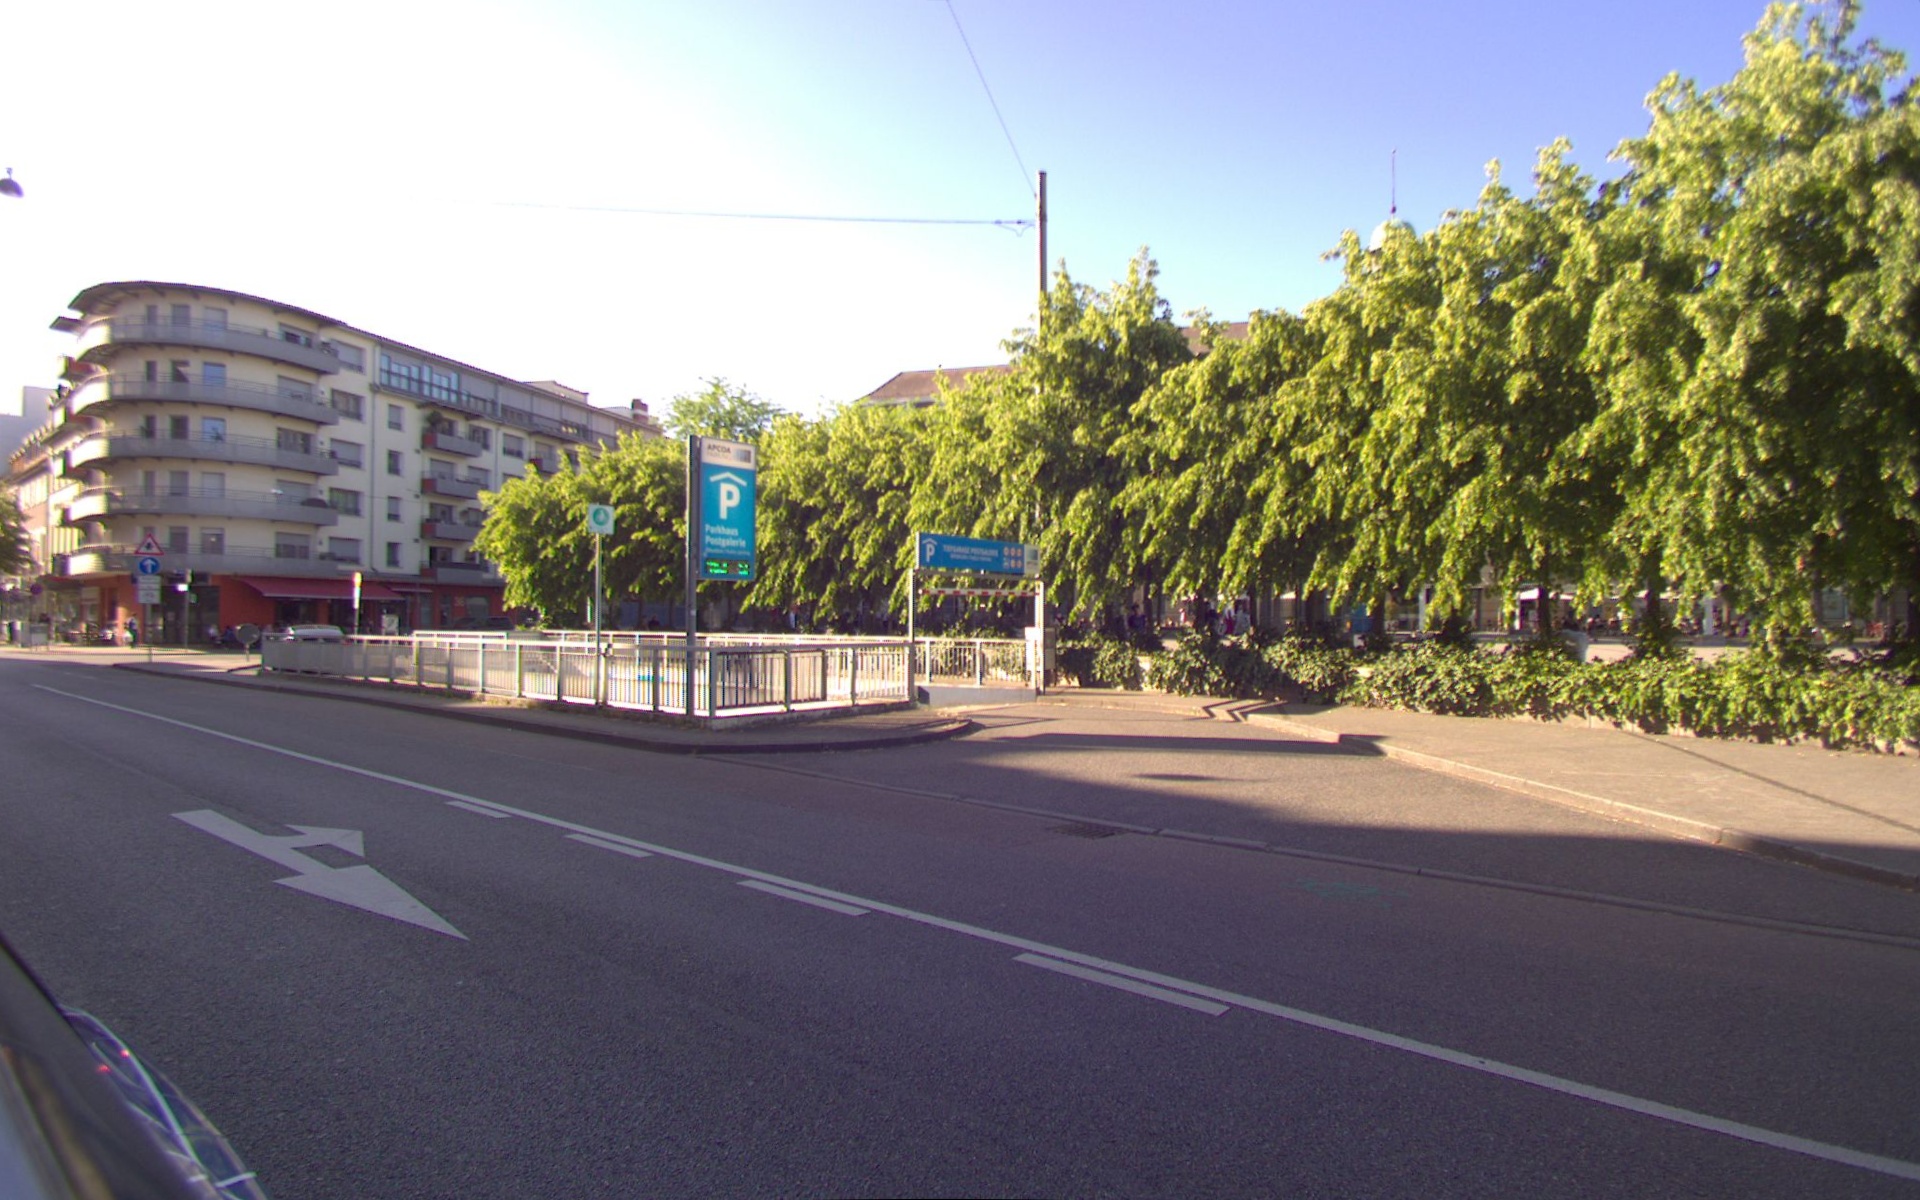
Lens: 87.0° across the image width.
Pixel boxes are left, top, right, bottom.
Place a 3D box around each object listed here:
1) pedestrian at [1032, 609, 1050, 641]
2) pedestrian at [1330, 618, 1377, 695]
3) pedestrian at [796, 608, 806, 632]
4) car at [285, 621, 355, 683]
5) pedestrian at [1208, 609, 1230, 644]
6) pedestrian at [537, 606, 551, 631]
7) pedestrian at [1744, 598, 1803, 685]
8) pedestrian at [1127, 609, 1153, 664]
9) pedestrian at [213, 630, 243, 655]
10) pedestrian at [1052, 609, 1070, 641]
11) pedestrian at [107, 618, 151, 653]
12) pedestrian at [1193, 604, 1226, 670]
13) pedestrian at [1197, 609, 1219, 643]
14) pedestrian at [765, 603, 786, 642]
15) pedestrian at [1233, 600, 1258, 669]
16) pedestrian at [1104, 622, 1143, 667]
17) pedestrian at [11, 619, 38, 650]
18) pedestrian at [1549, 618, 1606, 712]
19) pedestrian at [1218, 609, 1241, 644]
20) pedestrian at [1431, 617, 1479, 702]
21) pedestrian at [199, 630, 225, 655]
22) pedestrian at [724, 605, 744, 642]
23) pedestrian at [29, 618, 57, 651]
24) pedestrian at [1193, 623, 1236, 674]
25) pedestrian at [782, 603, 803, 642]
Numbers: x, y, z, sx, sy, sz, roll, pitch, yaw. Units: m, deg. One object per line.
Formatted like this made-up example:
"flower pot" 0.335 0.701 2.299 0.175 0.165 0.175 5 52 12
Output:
"pedestrian" 3.578 1.120 44.851 0.752 1.385 0.684 -1 0 1
"pedestrian" 7.524 1.062 19.343 0.622 1.409 0.644 -1 0 44
"pedestrian" -10.790 1.358 68.651 0.489 1.591 0.491 -1 0 16
"car" -19.186 1.484 30.291 1.649 1.542 4.261 -1 2 -33
"pedestrian" 11.621 1.174 45.443 0.672 1.542 0.696 -1 0 -30
"pedestrian" -31.284 1.402 76.027 0.684 1.857 0.737 -1 0 41
"pedestrian" 14.622 0.727 18.205 0.691 1.532 0.677 -1 0 30
"pedestrian" 4.612 0.931 25.932 0.545 1.385 0.680 -1 0 19
"pedestrian" -36.818 2.128 50.893 0.827 1.207 0.931 -1 0 16
"pedestrian" 4.473 1.108 44.814 0.684 1.385 0.684 -1 0 1
"pedestrian" -40.853 1.743 49.772 1.261 1.678 1.134 -1 0 15
"pedestrian" 5.870 0.852 23.792 0.688 1.511 0.680 -1 0 19
"pedestrian" 11.322 1.178 46.211 0.672 1.535 0.696 -1 0 -32
"pedestrian" -8.964 1.102 49.186 0.681 1.877 0.741 -1 0 27
"pedestrian" 6.705 0.799 23.753 0.522 1.594 0.680 -1 0 19
"pedestrian" 4.048 1.092 25.070 0.682 1.079 0.686 -1 0 -29
"pedestrian" -52.924 1.937 57.246 1.081 1.732 1.054 -1 0 43
"pedestrian" 9.807 1.013 16.087 0.611 1.447 0.588 -1 0 14
"pedestrian" 11.900 1.170 44.681 0.672 1.536 0.696 -1 0 -27
"pedestrian" 8.751 1.027 17.896 0.621 1.447 0.645 -1 0 39
"pedestrian" -37.639 2.139 50.938 0.882 1.207 0.772 -1 0 30
"pedestrian" -11.275 1.161 50.408 0.679 1.857 0.743 -1 0 19
"pedestrian" -50.795 1.916 56.071 0.962 1.762 1.047 -1 0 41
"pedestrian" 5.636 1.071 22.445 0.682 1.079 0.686 -1 0 -13
"pedestrian" -8.231 1.103 49.747 0.681 1.857 0.741 -1 0 27
